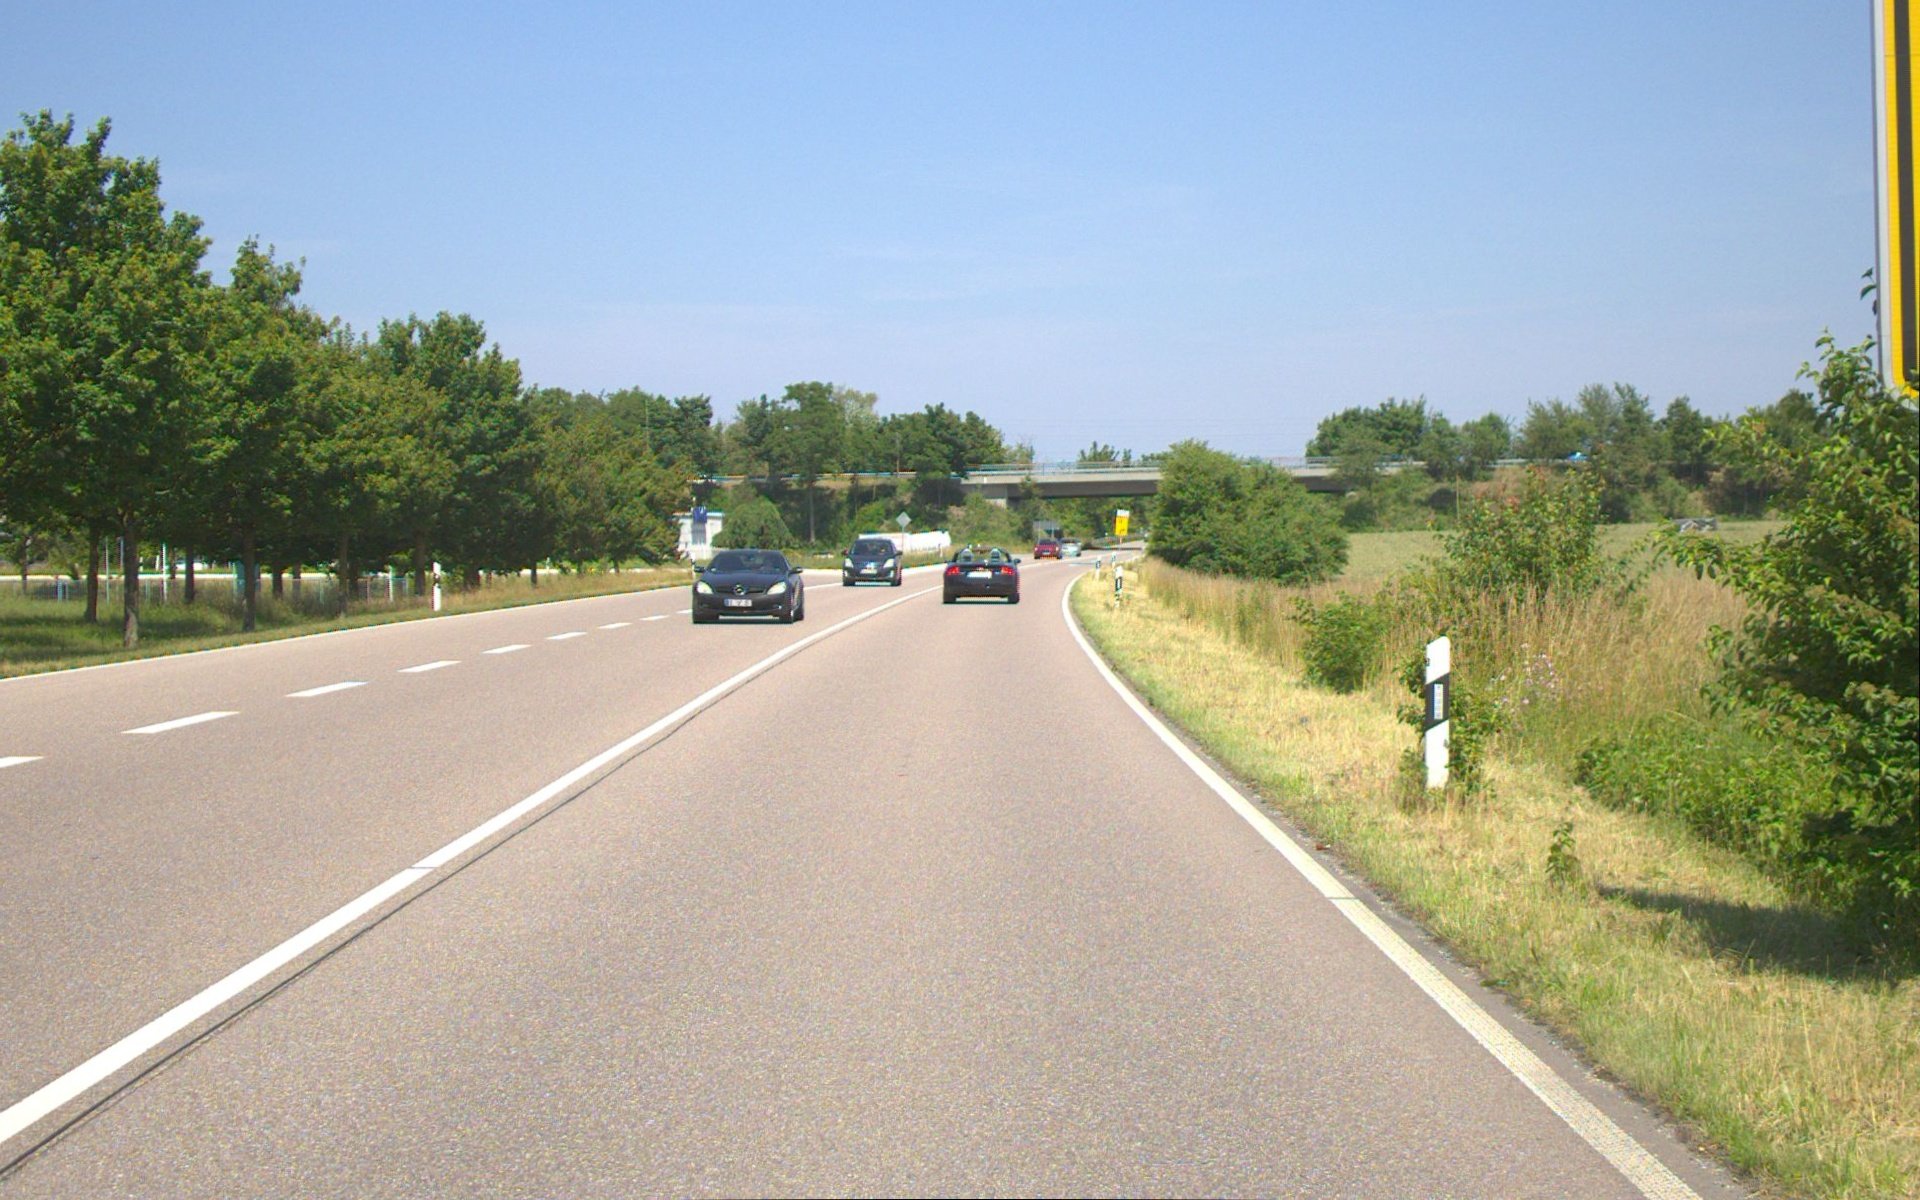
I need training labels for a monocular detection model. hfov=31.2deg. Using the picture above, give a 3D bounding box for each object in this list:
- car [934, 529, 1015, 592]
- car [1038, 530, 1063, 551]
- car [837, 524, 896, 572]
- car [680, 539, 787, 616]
[{"bbox_3d":[0.316,-0.934,80.746,1.814,1.436,4.000,1,1,-1],"label":"car"},{"bbox_3d":[6.267,-4.139,238.552,1.742,1.407,4.625,1,1,1],"label":"car"},{"bbox_3d":[-2.924,-1.653,108.410,1.680,1.493,3.886,0,1,1],"label":"car"},{"bbox_3d":[-3.828,-0.409,58.581,1.636,1.264,3.812,0,1,-1],"label":"car"}]
